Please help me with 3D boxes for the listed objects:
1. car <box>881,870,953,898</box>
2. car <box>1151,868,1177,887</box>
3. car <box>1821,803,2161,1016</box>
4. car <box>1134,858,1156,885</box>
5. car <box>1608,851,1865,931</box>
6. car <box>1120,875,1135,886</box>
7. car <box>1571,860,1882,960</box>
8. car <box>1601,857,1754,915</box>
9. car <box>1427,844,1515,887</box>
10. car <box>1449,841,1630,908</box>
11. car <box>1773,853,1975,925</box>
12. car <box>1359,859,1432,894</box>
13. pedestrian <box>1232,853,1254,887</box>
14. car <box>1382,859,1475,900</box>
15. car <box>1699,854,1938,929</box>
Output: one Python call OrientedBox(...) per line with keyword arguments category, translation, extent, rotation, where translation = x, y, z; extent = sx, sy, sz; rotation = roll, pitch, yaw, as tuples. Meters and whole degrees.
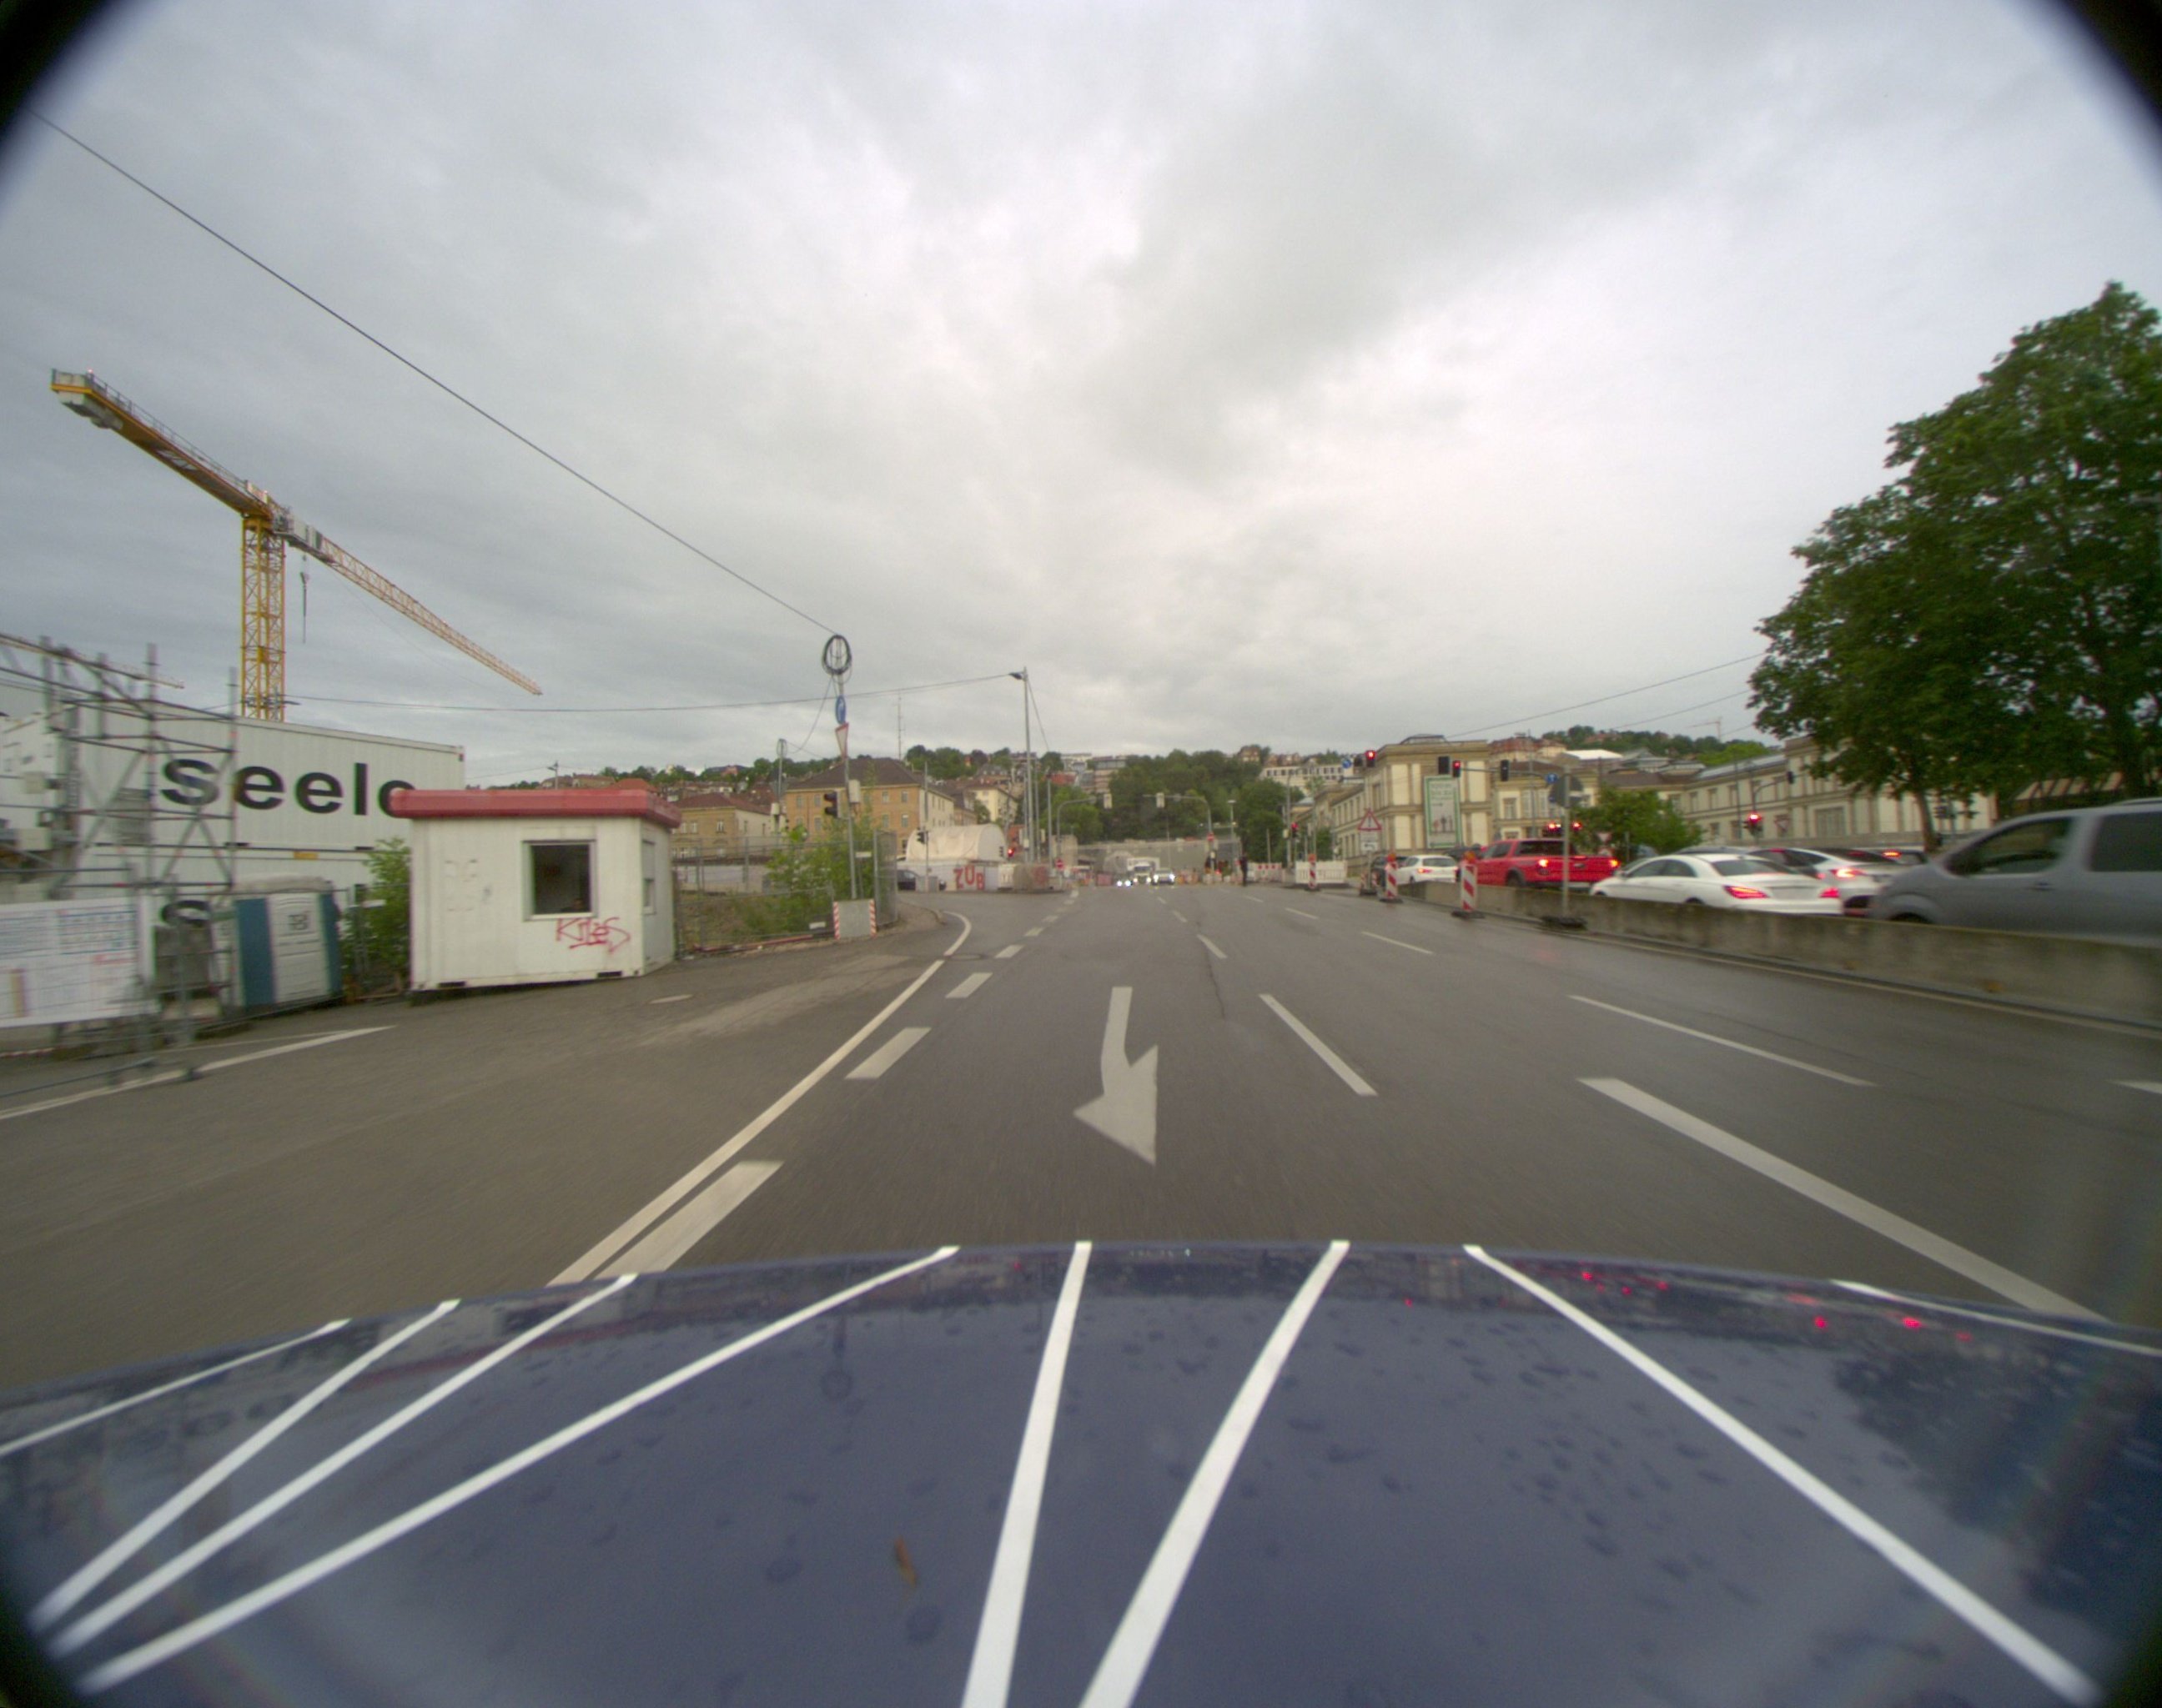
OrientedBox(category="car", translation=(-9.919, 1.786, 46.212), extent=(4.112, 1.608, 1.887), rotation=(0, 0, -7))
OrientedBox(category="car", translation=(7.579, 2.127, 69.945), extent=(1.998, 1.561, 4.000), rotation=(0, 0, 1))
OrientedBox(category="car", translation=(10.465, 0.478, 7.137), extent=(1.997, 1.855, 5.598), rotation=(0, 0, 6))
OrientedBox(category="car", translation=(9.982, 2.583, 117.805), extent=(2.834, 3.990, 8.731), rotation=(0, 0, 8))
OrientedBox(category="car", translation=(15.263, 0.768, 18.120), extent=(1.999, 1.638, 4.613), rotation=(0, 0, -3))
OrientedBox(category="car", translation=(7.346, 4.181, 120.028), extent=(1.997, 1.462, 4.349), rotation=(0, 0, 9))
OrientedBox(category="car", translation=(11.530, 0.888, 14.166), extent=(1.998, 1.493, 4.824), rotation=(0, 0, 5))
OrientedBox(category="car", translation=(19.236, 0.972, 24.775), extent=(1.847, 1.739, 4.000), rotation=(0, 0, 0))
OrientedBox(category="car", translation=(17.038, 0.480, 33.461), extent=(1.997, 1.784, 4.617), rotation=(0, 0, 7))
OrientedBox(category="car", translation=(11.986, 0.482, 20.400), extent=(1.998, 1.558, 5.384), rotation=(0, 0, 5))
OrientedBox(category="car", translation=(24.038, 0.986, 23.275), extent=(1.999, 2.002, 4.000), rotation=(0, 0, 0))
OrientedBox(category="car", translation=(14.274, 0.991, 34.717), extent=(1.997, 1.462, 4.349), rotation=(0, 0, 7))
OrientedBox(category="pedestrian", translation=(8.144, 0.794, 38.194), extent=(0.784, 1.700, 0.761), rotation=(0, 0, -16))
OrientedBox(category="car", translation=(13.303, 0.922, 29.405), extent=(1.997, 1.462, 4.563), rotation=(0, 0, 7))
OrientedBox(category="car", translation=(17.852, 0.836, 18.716), extent=(1.999, 1.641, 4.000), rotation=(0, 0, 0))
